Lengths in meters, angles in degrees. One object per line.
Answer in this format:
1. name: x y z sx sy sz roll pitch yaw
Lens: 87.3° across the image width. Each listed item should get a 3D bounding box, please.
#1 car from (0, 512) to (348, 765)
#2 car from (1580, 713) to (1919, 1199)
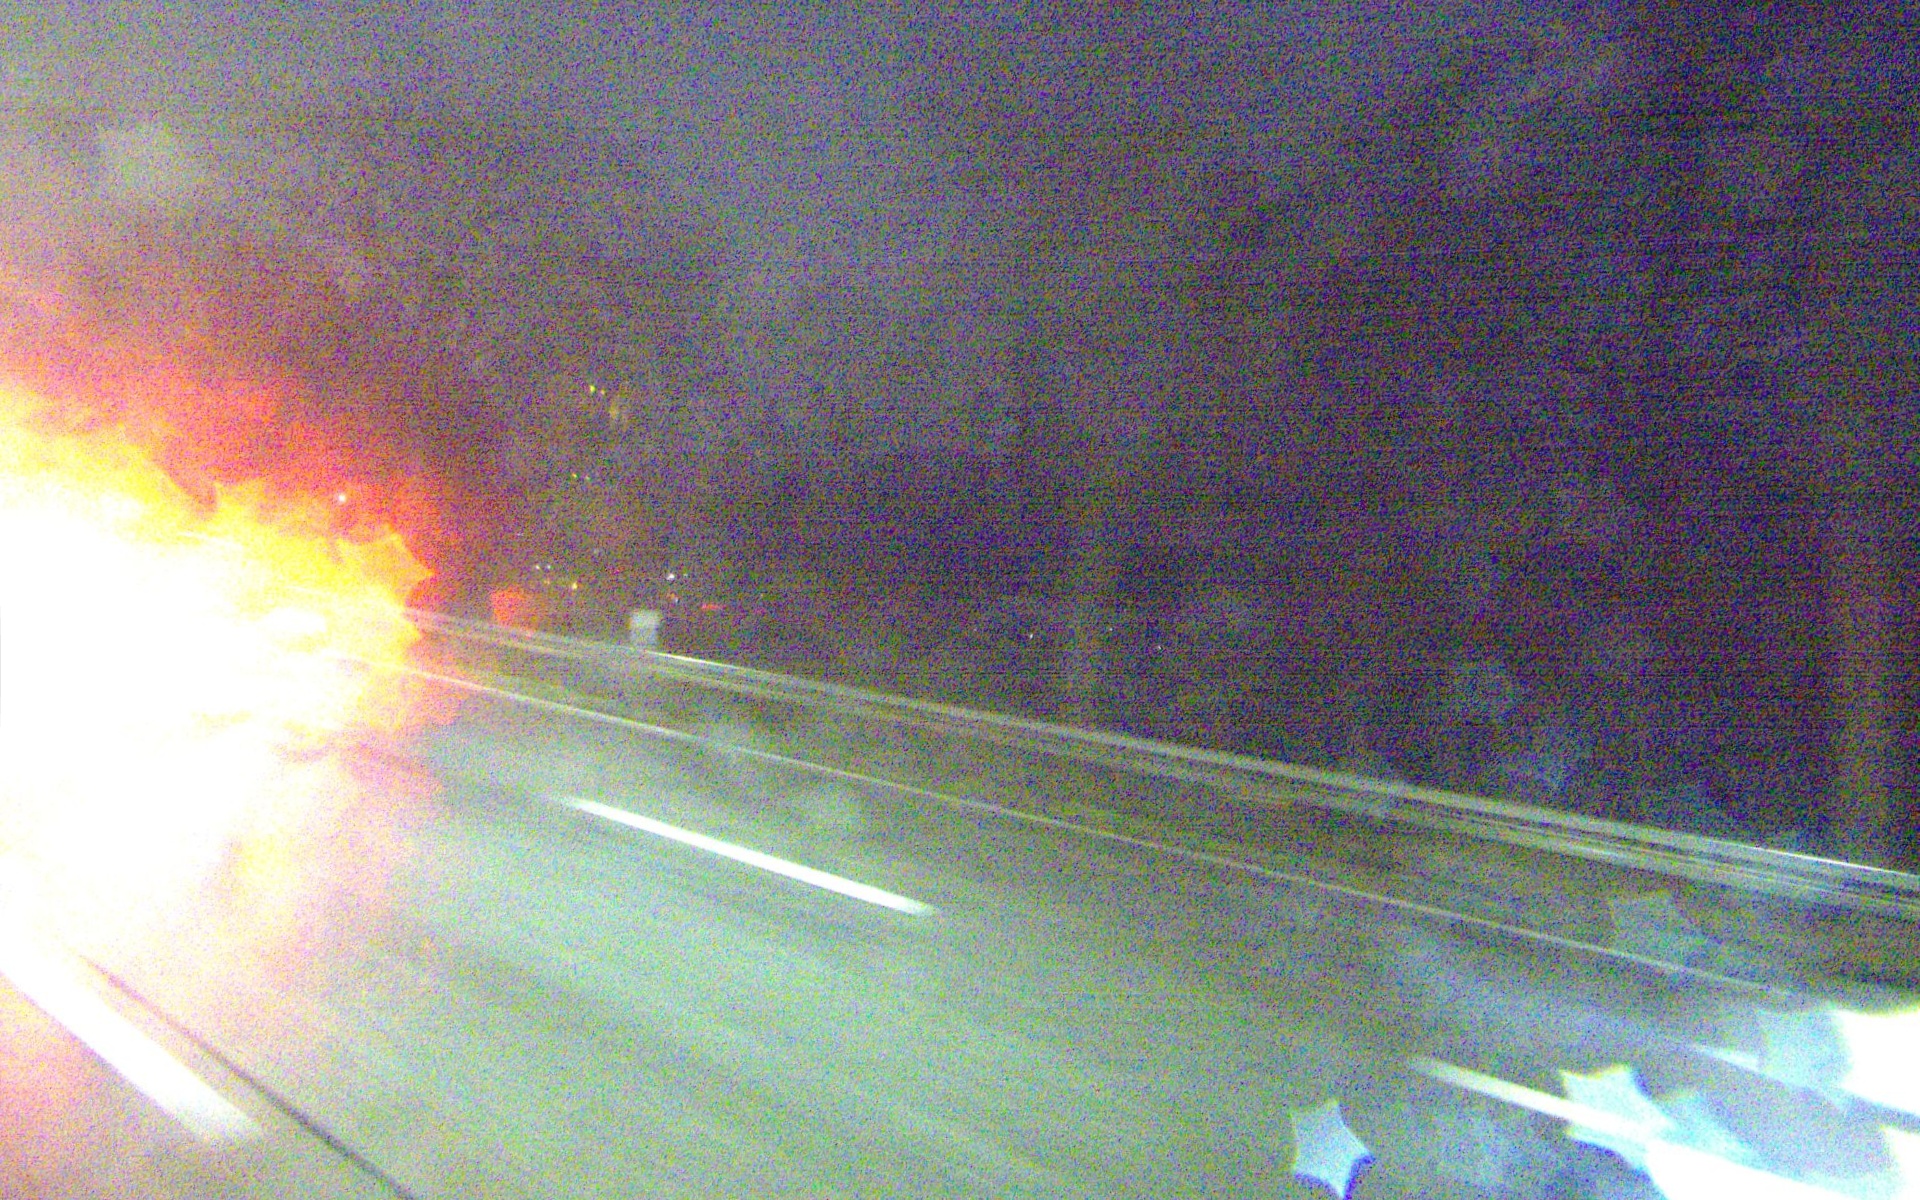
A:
1. car: -7.059 0.114 7.903 4.645 1.465 1.735 6 -2 30
2. car: 3.522 1.236 1.296 4.493 1.502 1.824 6 -1 32
